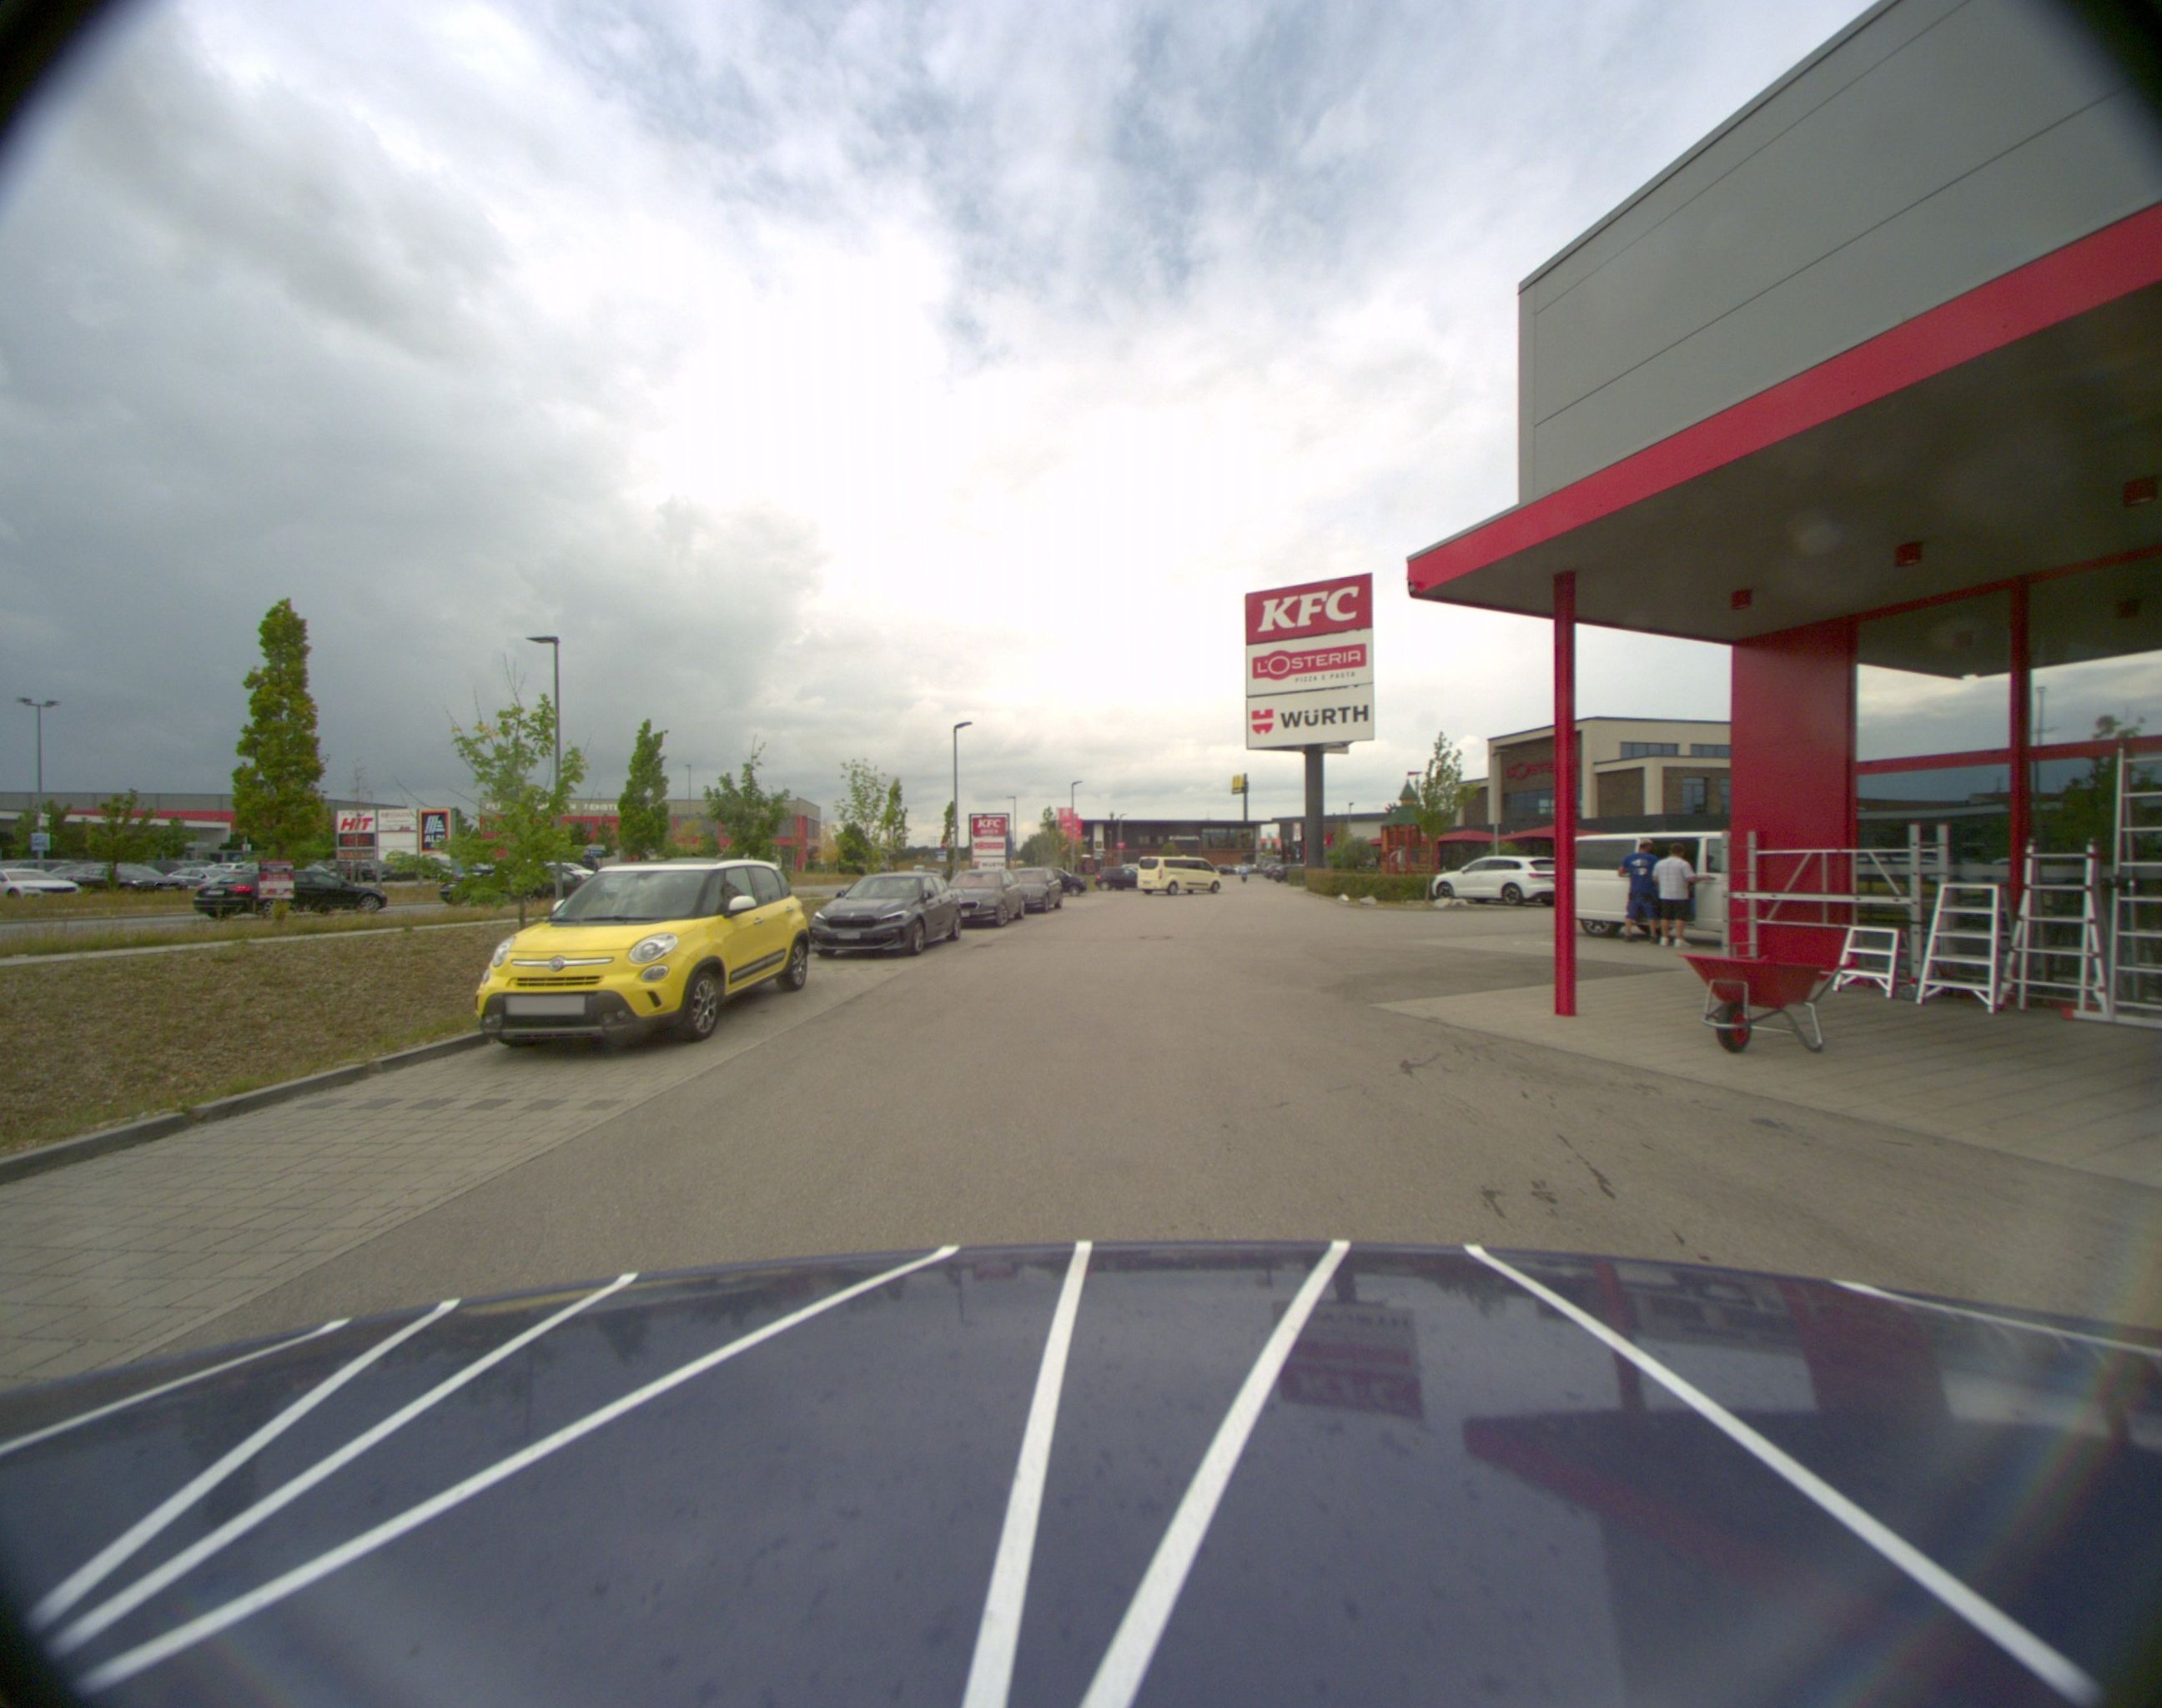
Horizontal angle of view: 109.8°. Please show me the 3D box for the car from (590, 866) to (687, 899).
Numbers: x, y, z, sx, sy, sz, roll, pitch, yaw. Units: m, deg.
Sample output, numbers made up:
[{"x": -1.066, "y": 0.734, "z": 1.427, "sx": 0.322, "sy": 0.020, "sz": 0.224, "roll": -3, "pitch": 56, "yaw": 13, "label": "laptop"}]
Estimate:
[{"x": -21.055, "y": 1.312, "z": 36.361, "sx": 1.820, "sy": 1.485, "sz": 4.004, "roll": 0, "pitch": 0, "yaw": 11, "label": "car"}]

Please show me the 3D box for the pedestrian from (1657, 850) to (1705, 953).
[{"x": 9.996, "y": 0.777, "z": 12.655, "sx": 0.586, "sy": 1.692, "sz": 0.360, "roll": 0, "pitch": 0, "yaw": -19, "label": "pedestrian"}]

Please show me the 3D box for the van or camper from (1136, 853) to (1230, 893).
[{"x": 5.572, "y": 0.984, "z": 41.042, "sx": 5.244, "sy": 2.049, "sz": 1.855, "roll": 0, "pitch": 0, "yaw": -37, "label": "van or camper"}]

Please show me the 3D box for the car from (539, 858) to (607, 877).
[{"x": -40.114, "y": 1.056, "z": 60.037, "sx": 3.996, "sy": 1.433, "sz": 2.001, "roll": -1, "pitch": 0, "yaw": 3, "label": "car"}]

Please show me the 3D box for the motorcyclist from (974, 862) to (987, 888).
[{"x": -5.101, "y": 1.062, "z": 38.557, "sx": 0.673, "sy": 1.308, "sz": 0.575, "roll": 0, "pitch": 0, "yaw": -8, "label": "motorcyclist"}]

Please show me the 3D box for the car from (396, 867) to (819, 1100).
[{"x": -4.302, "y": 1.011, "z": 7.877, "sx": 1.752, "sy": 1.673, "sz": 4.298, "roll": -1, "pitch": 0, "yaw": -2, "label": "car"}]

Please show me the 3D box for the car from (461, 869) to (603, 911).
[{"x": -19.367, "y": 1.219, "z": 27.049, "sx": 1.757, "sy": 1.346, "sz": 4.003, "roll": 0, "pitch": 0, "yaw": 10, "label": "car"}]

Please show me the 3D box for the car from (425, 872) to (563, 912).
[{"x": -22.679, "y": 1.433, "z": 29.578, "sx": 1.906, "sy": 1.389, "sz": 4.003, "roll": 0, "pitch": 0, "yaw": 9, "label": "car"}]

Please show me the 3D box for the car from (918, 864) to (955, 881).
[{"x": -12.782, "y": 1.611, "z": 67.296, "sx": 1.997, "sy": 1.506, "sz": 4.372, "roll": 0, "pitch": 0, "yaw": 6, "label": "car"}]

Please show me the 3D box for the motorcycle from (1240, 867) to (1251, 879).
[{"x": 14.358, "y": 1.637, "z": 66.399, "sx": 0.815, "sy": 1.069, "sz": 2.151, "roll": 0, "pitch": 0, "yaw": 10, "label": "motorcycle"}]

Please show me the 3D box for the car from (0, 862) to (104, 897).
[{"x": -44.804, "y": 1.086, "z": 32.536, "sx": 3.995, "sy": 1.467, "sz": 1.779, "roll": 0, "pitch": 0, "yaw": 5, "label": "car"}]

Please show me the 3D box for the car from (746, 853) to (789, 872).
[{"x": -36.988, "y": 0.959, "z": 89.744, "sx": 4.439, "sy": 2.110, "sz": 1.998, "roll": -1, "pitch": 0, "yaw": -11, "label": "car"}]

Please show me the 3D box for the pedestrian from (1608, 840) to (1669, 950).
[{"x": 9.655, "y": 0.692, "z": 13.174, "sx": 0.589, "sy": 1.845, "sz": 0.624, "roll": -1, "pitch": 0, "yaw": -24, "label": "pedestrian"}]

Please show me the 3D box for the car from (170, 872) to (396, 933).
[{"x": -23.318, "y": 1.340, "z": 22.502, "sx": 1.907, "sy": 1.559, "sz": 4.338, "roll": 0, "pitch": 0, "yaw": 6, "label": "car"}]

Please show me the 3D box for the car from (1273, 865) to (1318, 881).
[{"x": 18.386, "y": 1.607, "z": 65.262, "sx": 3.440, "sy": 1.288, "sz": 1.500, "roll": -1, "pitch": 0, "yaw": 0, "label": "car"}]

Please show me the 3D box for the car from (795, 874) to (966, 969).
[{"x": -3.532, "y": 1.138, "z": 14.288, "sx": 1.751, "sy": 1.407, "sz": 4.307, "roll": -1, "pitch": 0, "yaw": 5, "label": "car"}]

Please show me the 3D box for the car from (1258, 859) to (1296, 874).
[{"x": 24.059, "y": 1.513, "z": 93.420, "sx": 3.999, "sy": 1.827, "sz": 1.999, "roll": -1, "pitch": 0, "yaw": -5, "label": "car"}]

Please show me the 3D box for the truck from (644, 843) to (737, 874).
[{"x": -39.091, "y": 0.415, "z": 76.430, "sx": 2.673, "sy": 2.928, "sz": 8.199, "roll": 0, "pitch": 0, "yaw": 28, "label": "truck"}]

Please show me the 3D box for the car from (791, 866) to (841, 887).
[{"x": -20.290, "y": 1.700, "z": 58.380, "sx": 1.788, "sy": 1.387, "sz": 4.374, "roll": -1, "pitch": 0, "yaw": 8, "label": "car"}]

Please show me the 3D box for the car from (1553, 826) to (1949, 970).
[{"x": 11.123, "y": 0.633, "z": 13.140, "sx": 1.940, "sy": 2.002, "sz": 4.750, "roll": -1, "pitch": 0, "yaw": -23, "label": "car"}]

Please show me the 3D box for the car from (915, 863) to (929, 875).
[{"x": -23.509, "y": 2.235, "z": 112.302, "sx": 2.001, "sy": 1.666, "sz": 3.995, "roll": 0, "pitch": 0, "yaw": -13, "label": "car"}]

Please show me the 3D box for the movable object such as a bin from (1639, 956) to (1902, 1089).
[{"x": 5.133, "y": 1.202, "z": 5.677, "sx": 1.586, "sy": 0.711, "sz": 0.802, "roll": 0, "pitch": 0, "yaw": -20, "label": "movable object such as a bin"}]

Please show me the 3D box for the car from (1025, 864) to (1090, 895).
[{"x": -1.179, "y": 1.245, "z": 37.672, "sx": 3.124, "sy": 1.438, "sz": 1.506, "roll": 1, "pitch": 0, "yaw": -4, "label": "car"}]

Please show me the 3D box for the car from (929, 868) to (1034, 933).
[{"x": -2.560, "y": 1.172, "z": 20.688, "sx": 1.751, "sy": 1.482, "sz": 4.636, "roll": -1, "pitch": 0, "yaw": 6, "label": "car"}]

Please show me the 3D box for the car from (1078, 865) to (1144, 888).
[{"x": 1.933, "y": 1.420, "z": 48.184, "sx": 3.994, "sy": 1.411, "sz": 1.812, "roll": -1, "pitch": 0, "yaw": 9, "label": "car"}]

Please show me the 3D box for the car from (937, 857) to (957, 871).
[{"x": -17.779, "y": 1.299, "z": 100.892, "sx": 1.906, "sy": 1.803, "sz": 4.000, "roll": 0, "pitch": 0, "yaw": 0, "label": "car"}]

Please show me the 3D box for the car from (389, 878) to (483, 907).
[{"x": -36.682, "y": 2.174, "z": 43.234, "sx": 3.993, "sy": 1.521, "sz": 2.002, "roll": -1, "pitch": 0, "yaw": 12, "label": "car"}]

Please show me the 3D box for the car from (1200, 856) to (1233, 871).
[{"x": 18.816, "y": 1.370, "z": 105.425, "sx": 3.989, "sy": 2.002, "sz": 2.004, "roll": -1, "pitch": 0, "yaw": 39, "label": "car"}]

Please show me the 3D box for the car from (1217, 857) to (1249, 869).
[{"x": 21.601, "y": 1.336, "z": 107.991, "sx": 3.989, "sy": 1.652, "sz": 2.004, "roll": -1, "pitch": 0, "yaw": 39, "label": "car"}]

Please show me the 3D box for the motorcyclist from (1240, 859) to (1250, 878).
[{"x": 14.375, "y": 1.248, "z": 66.530, "sx": 0.753, "sy": 1.628, "sz": 1.039, "roll": -1, "pitch": 0, "yaw": 10, "label": "motorcyclist"}]

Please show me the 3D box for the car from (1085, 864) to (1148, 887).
[{"x": 2.377, "y": 1.421, "z": 50.467, "sx": 3.994, "sy": 1.411, "sz": 1.812, "roll": -1, "pitch": 0, "yaw": 9, "label": "car"}]

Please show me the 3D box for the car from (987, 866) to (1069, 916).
[{"x": -1.713, "y": 1.207, "z": 25.957, "sx": 1.750, "sy": 1.482, "sz": 4.491, "roll": -1, "pitch": 0, "yaw": 10, "label": "car"}]

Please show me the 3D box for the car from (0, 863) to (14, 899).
[{"x": -45.428, "y": 1.083, "z": 30.172, "sx": 3.995, "sy": 1.467, "sz": 1.779, "roll": 0, "pitch": 0, "yaw": 5, "label": "car"}]

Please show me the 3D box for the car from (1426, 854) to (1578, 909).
[{"x": 14.677, "y": 0.902, "z": 26.841, "sx": 1.760, "sy": 1.738, "sz": 4.735, "roll": 0, "pitch": 0, "yaw": -18, "label": "car"}]
